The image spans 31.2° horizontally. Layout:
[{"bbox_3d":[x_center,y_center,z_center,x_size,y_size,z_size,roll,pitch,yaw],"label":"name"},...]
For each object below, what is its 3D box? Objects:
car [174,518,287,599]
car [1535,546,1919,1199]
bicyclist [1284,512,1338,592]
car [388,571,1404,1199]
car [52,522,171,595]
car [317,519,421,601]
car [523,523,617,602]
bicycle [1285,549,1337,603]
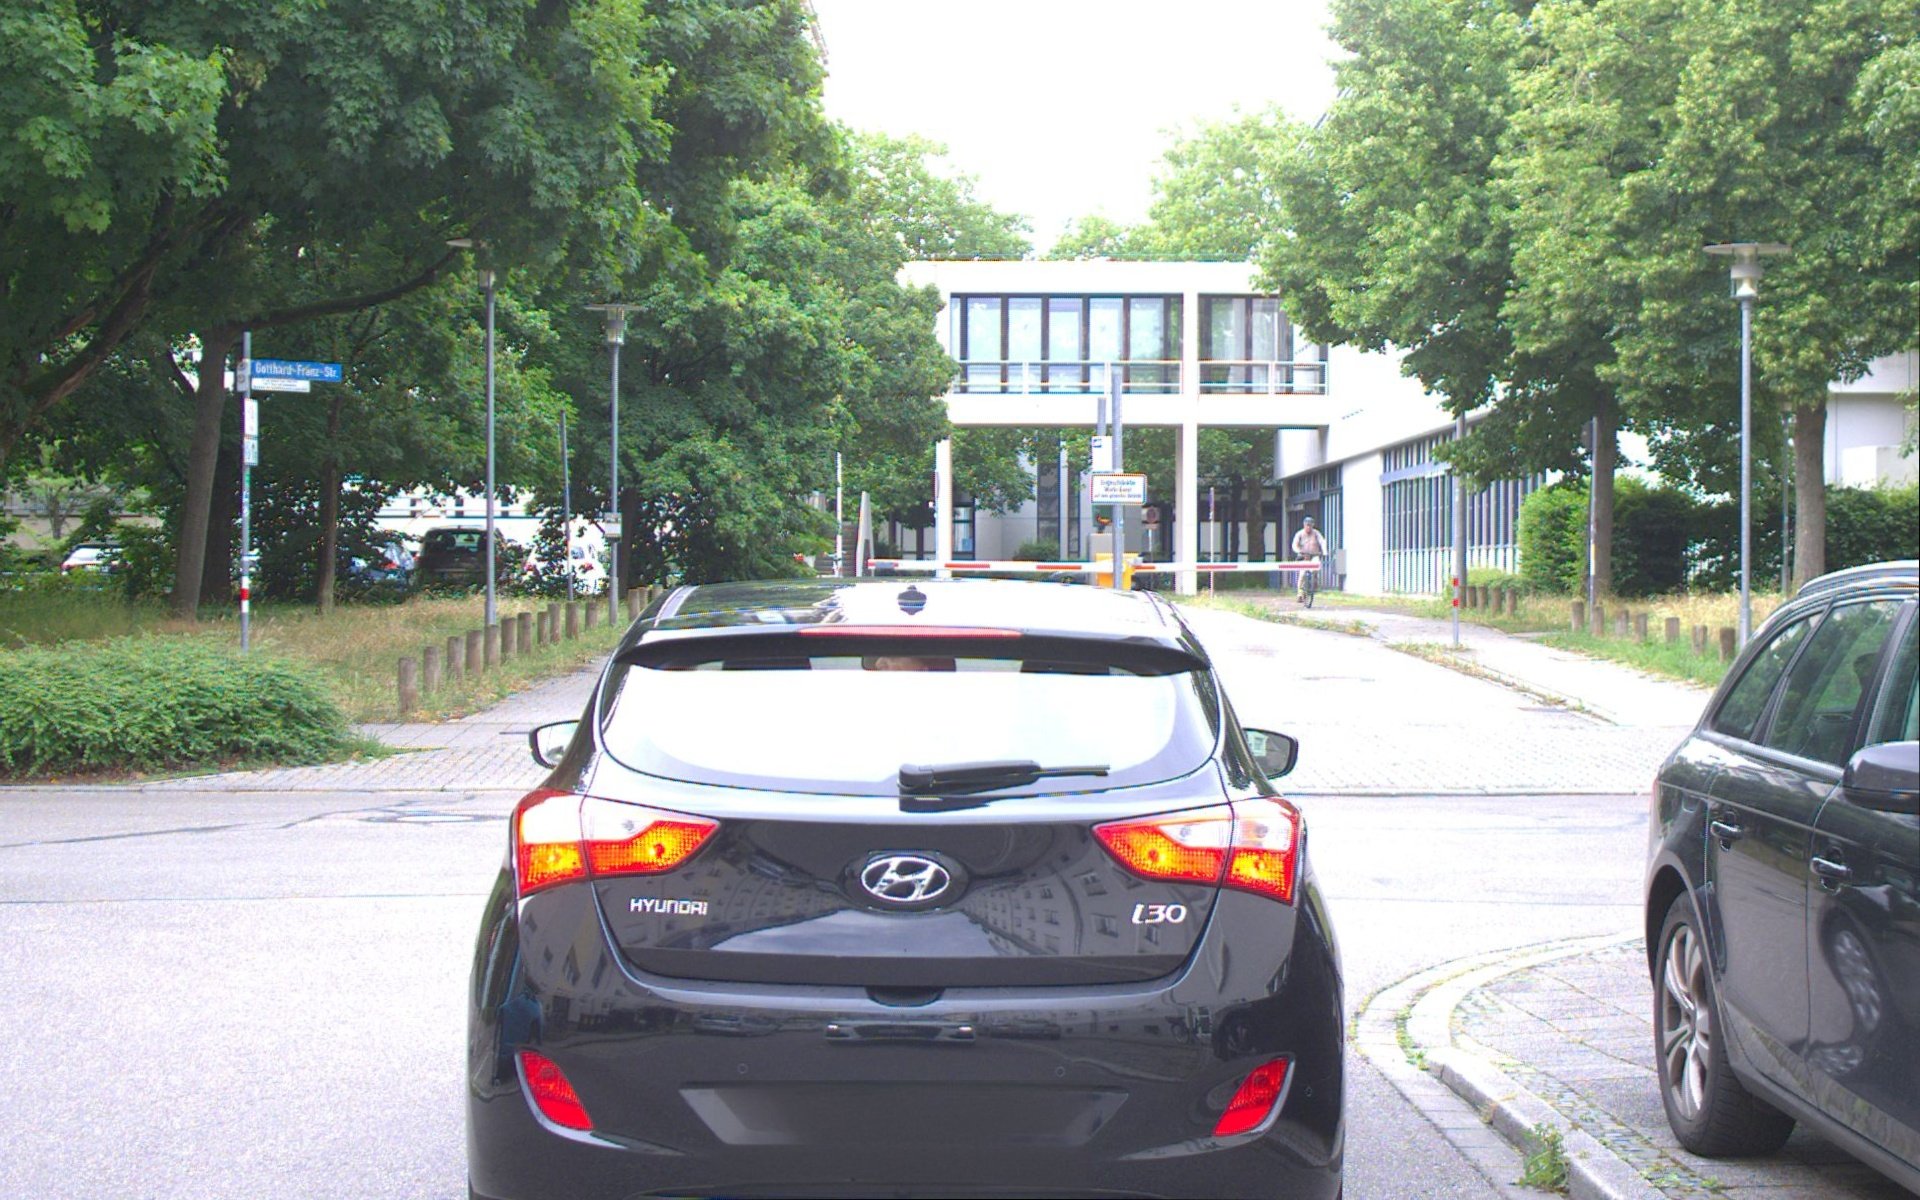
[{"bbox_3d":[-16.601,-0.925,78.376,1.993,1.722,4.000,0,-1,-4],"label":"car"},{"bbox_3d":[2.595,0.623,6.961,1.860,1.457,4.726,-1,1,-3],"label":"car"},{"bbox_3d":[7.243,-0.992,70.885,1.017,1.639,0.923,0,1,1],"label":"bicyclist"},{"bbox_3d":[-0.207,0.670,8.195,1.846,1.457,3.828,1,0,-3],"label":"car"},{"bbox_3d":[-19.323,-0.952,78.443,1.993,1.612,4.001,0,1,-4],"label":"car"},{"bbox_3d":[-13.498,-0.894,78.707,1.993,1.788,4.000,0,-1,-4],"label":"car"},{"bbox_3d":[-8.902,-0.846,78.771,1.993,1.756,4.001,0,0,-4],"label":"car"},{"bbox_3d":[7.233,-0.505,70.941,0.866,1.071,2.142,0,1,1],"label":"bicycle"}]
